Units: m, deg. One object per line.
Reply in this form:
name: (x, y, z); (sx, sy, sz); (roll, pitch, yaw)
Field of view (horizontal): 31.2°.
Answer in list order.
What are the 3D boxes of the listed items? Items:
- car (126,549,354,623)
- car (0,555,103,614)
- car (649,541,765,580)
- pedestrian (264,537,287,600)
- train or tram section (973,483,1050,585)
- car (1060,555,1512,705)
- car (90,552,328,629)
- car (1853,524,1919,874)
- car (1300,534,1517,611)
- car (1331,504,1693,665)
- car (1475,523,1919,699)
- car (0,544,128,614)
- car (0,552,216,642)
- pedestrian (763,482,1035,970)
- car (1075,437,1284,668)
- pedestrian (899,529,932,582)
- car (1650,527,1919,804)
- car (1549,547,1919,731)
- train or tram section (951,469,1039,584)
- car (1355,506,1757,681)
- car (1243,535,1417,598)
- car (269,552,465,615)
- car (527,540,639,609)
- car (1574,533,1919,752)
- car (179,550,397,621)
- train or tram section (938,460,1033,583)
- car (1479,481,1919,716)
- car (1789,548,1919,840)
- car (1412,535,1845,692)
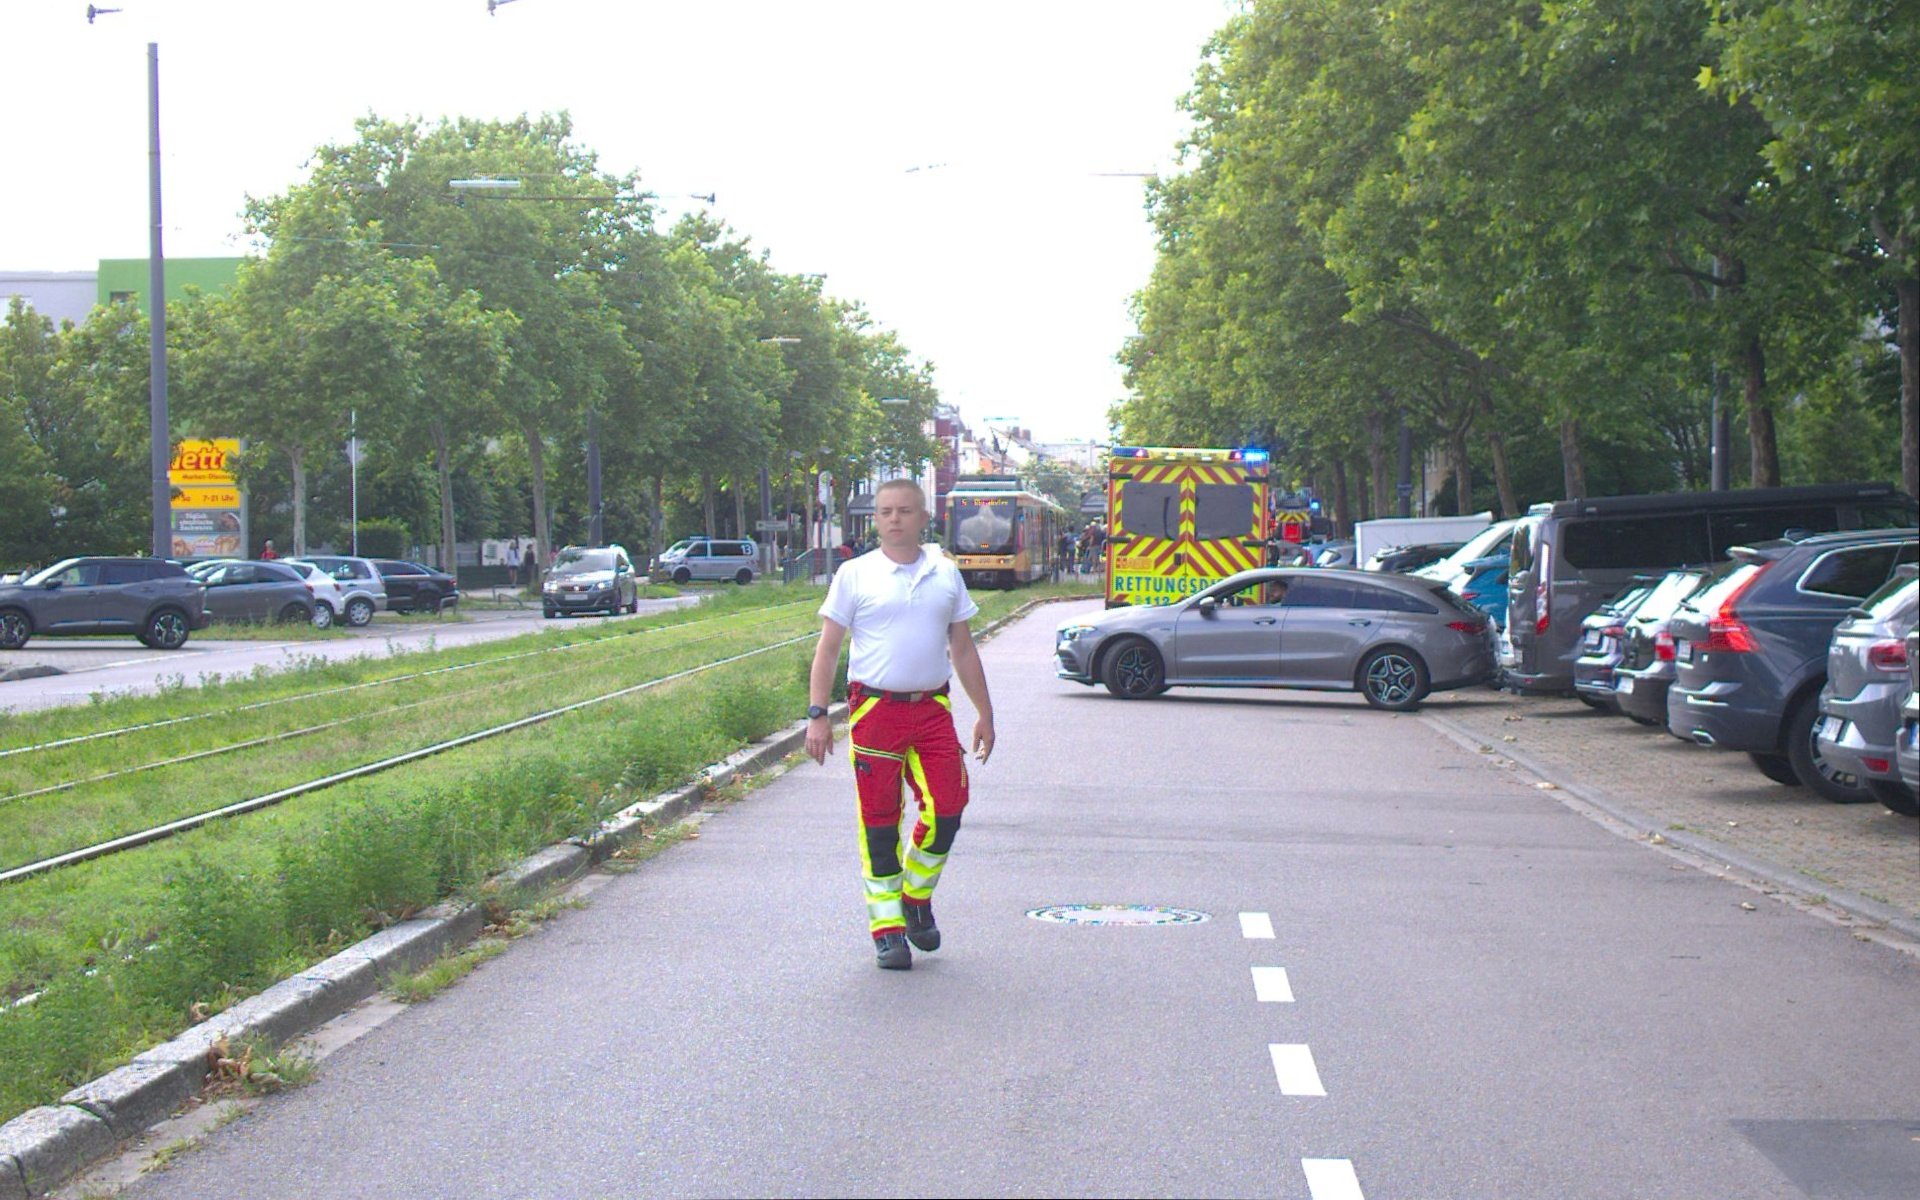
car: (-14.947, -0.281, 71.404); (4.221, 1.477, 1.883); (0, 1, -32)
car: (-28.374, -0.499, 107.398); (1.994, 1.744, 4.000); (2, 1, 3)
car: (-10.813, -1.711, 147.033); (4.613, 1.627, 1.883); (-1, 1, -35)
pedestrian: (-18.298, -0.847, 91.878); (0.466, 1.671, 0.603); (0, 1, 2)
train or tram section: (1.958, -2.398, 127.849); (2.512, 3.572, 7.444); (-2, 0, 3)
car: (3.424, 0.285, 35.908); (4.456, 1.381, 1.765); (2, 1, 14)
car: (-14.946, -0.189, 68.485); (4.221, 1.477, 1.883); (0, 1, -32)
car: (6.769, 0.409, 16.104); (4.658, 1.620, 1.848); (-1, 1, 0)
car: (9.958, -0.612, 76.597); (4.545, 1.603, 1.856); (-1, 1, 0)
car: (7.423, -0.222, 46.515); (4.545, 2.036, 1.856); (-1, 1, 0)
car: (7.908, 0.103, 36.802); (4.546, 1.760, 1.856); (-1, 1, 3)
car: (-24.584, -0.580, 92.663); (3.995, 1.744, 1.996); (2, 1, 35)
car: (-14.910, -0.058, 58.324); (4.220, 1.477, 1.884); (1, 1, -21)
pedestrian: (-0.233, 0.430, 12.342); (0.803, 1.680, 0.851); (0, 1, -13)
car: (3.178, -0.673, 48.821); (2.642, 2.956, 6.298); (3, 1, 5)
pedestrian: (-1.301, -1.300, 101.056); (0.881, 1.520, 0.751); (1, 0, 3)
car: (6.608, 0.355, 21.303); (4.381, 1.634, 1.756); (-1, 1, 5)
car: (7.223, 0.313, 29.804); (3.966, 1.489, 1.756); (-1, 0, 3)
train or tram section: (1.201, -2.366, 112.990); (2.512, 3.572, 7.444); (-2, 0, 3)
car: (7.215, -0.090, 41.926); (4.545, 1.994, 1.856); (-1, 1, 0)
car: (10.178, -0.929, 94.704); (4.545, 1.603, 1.856); (-1, 1, 0)
car: (-14.228, -0.392, 82.599); (4.222, 1.477, 1.883); (0, 1, -36)
car: (-9.073, -0.639, 83.053); (1.994, 1.552, 4.370); (-2, 1, 2)
car: (7.014, 0.288, 26.934); (3.965, 1.600, 1.756); (-1, 1, -7)
car: (-14.523, -0.304, 74.397); (4.221, 1.477, 1.883); (0, 1, -32)
train or tram section: (0.835, -2.350, 105.567); (2.512, 3.572, 7.444); (-2, 0, 3)
car: (7.361, -0.030, 32.853); (4.546, 2.116, 1.856); (-1, 1, 3)
car: (6.859, 0.443, 18.607); (4.381, 1.496, 1.756); (-1, 1, 5)
car: (7.601, 0.139, 39.361); (4.545, 1.655, 1.856); (-1, 1, -1)
